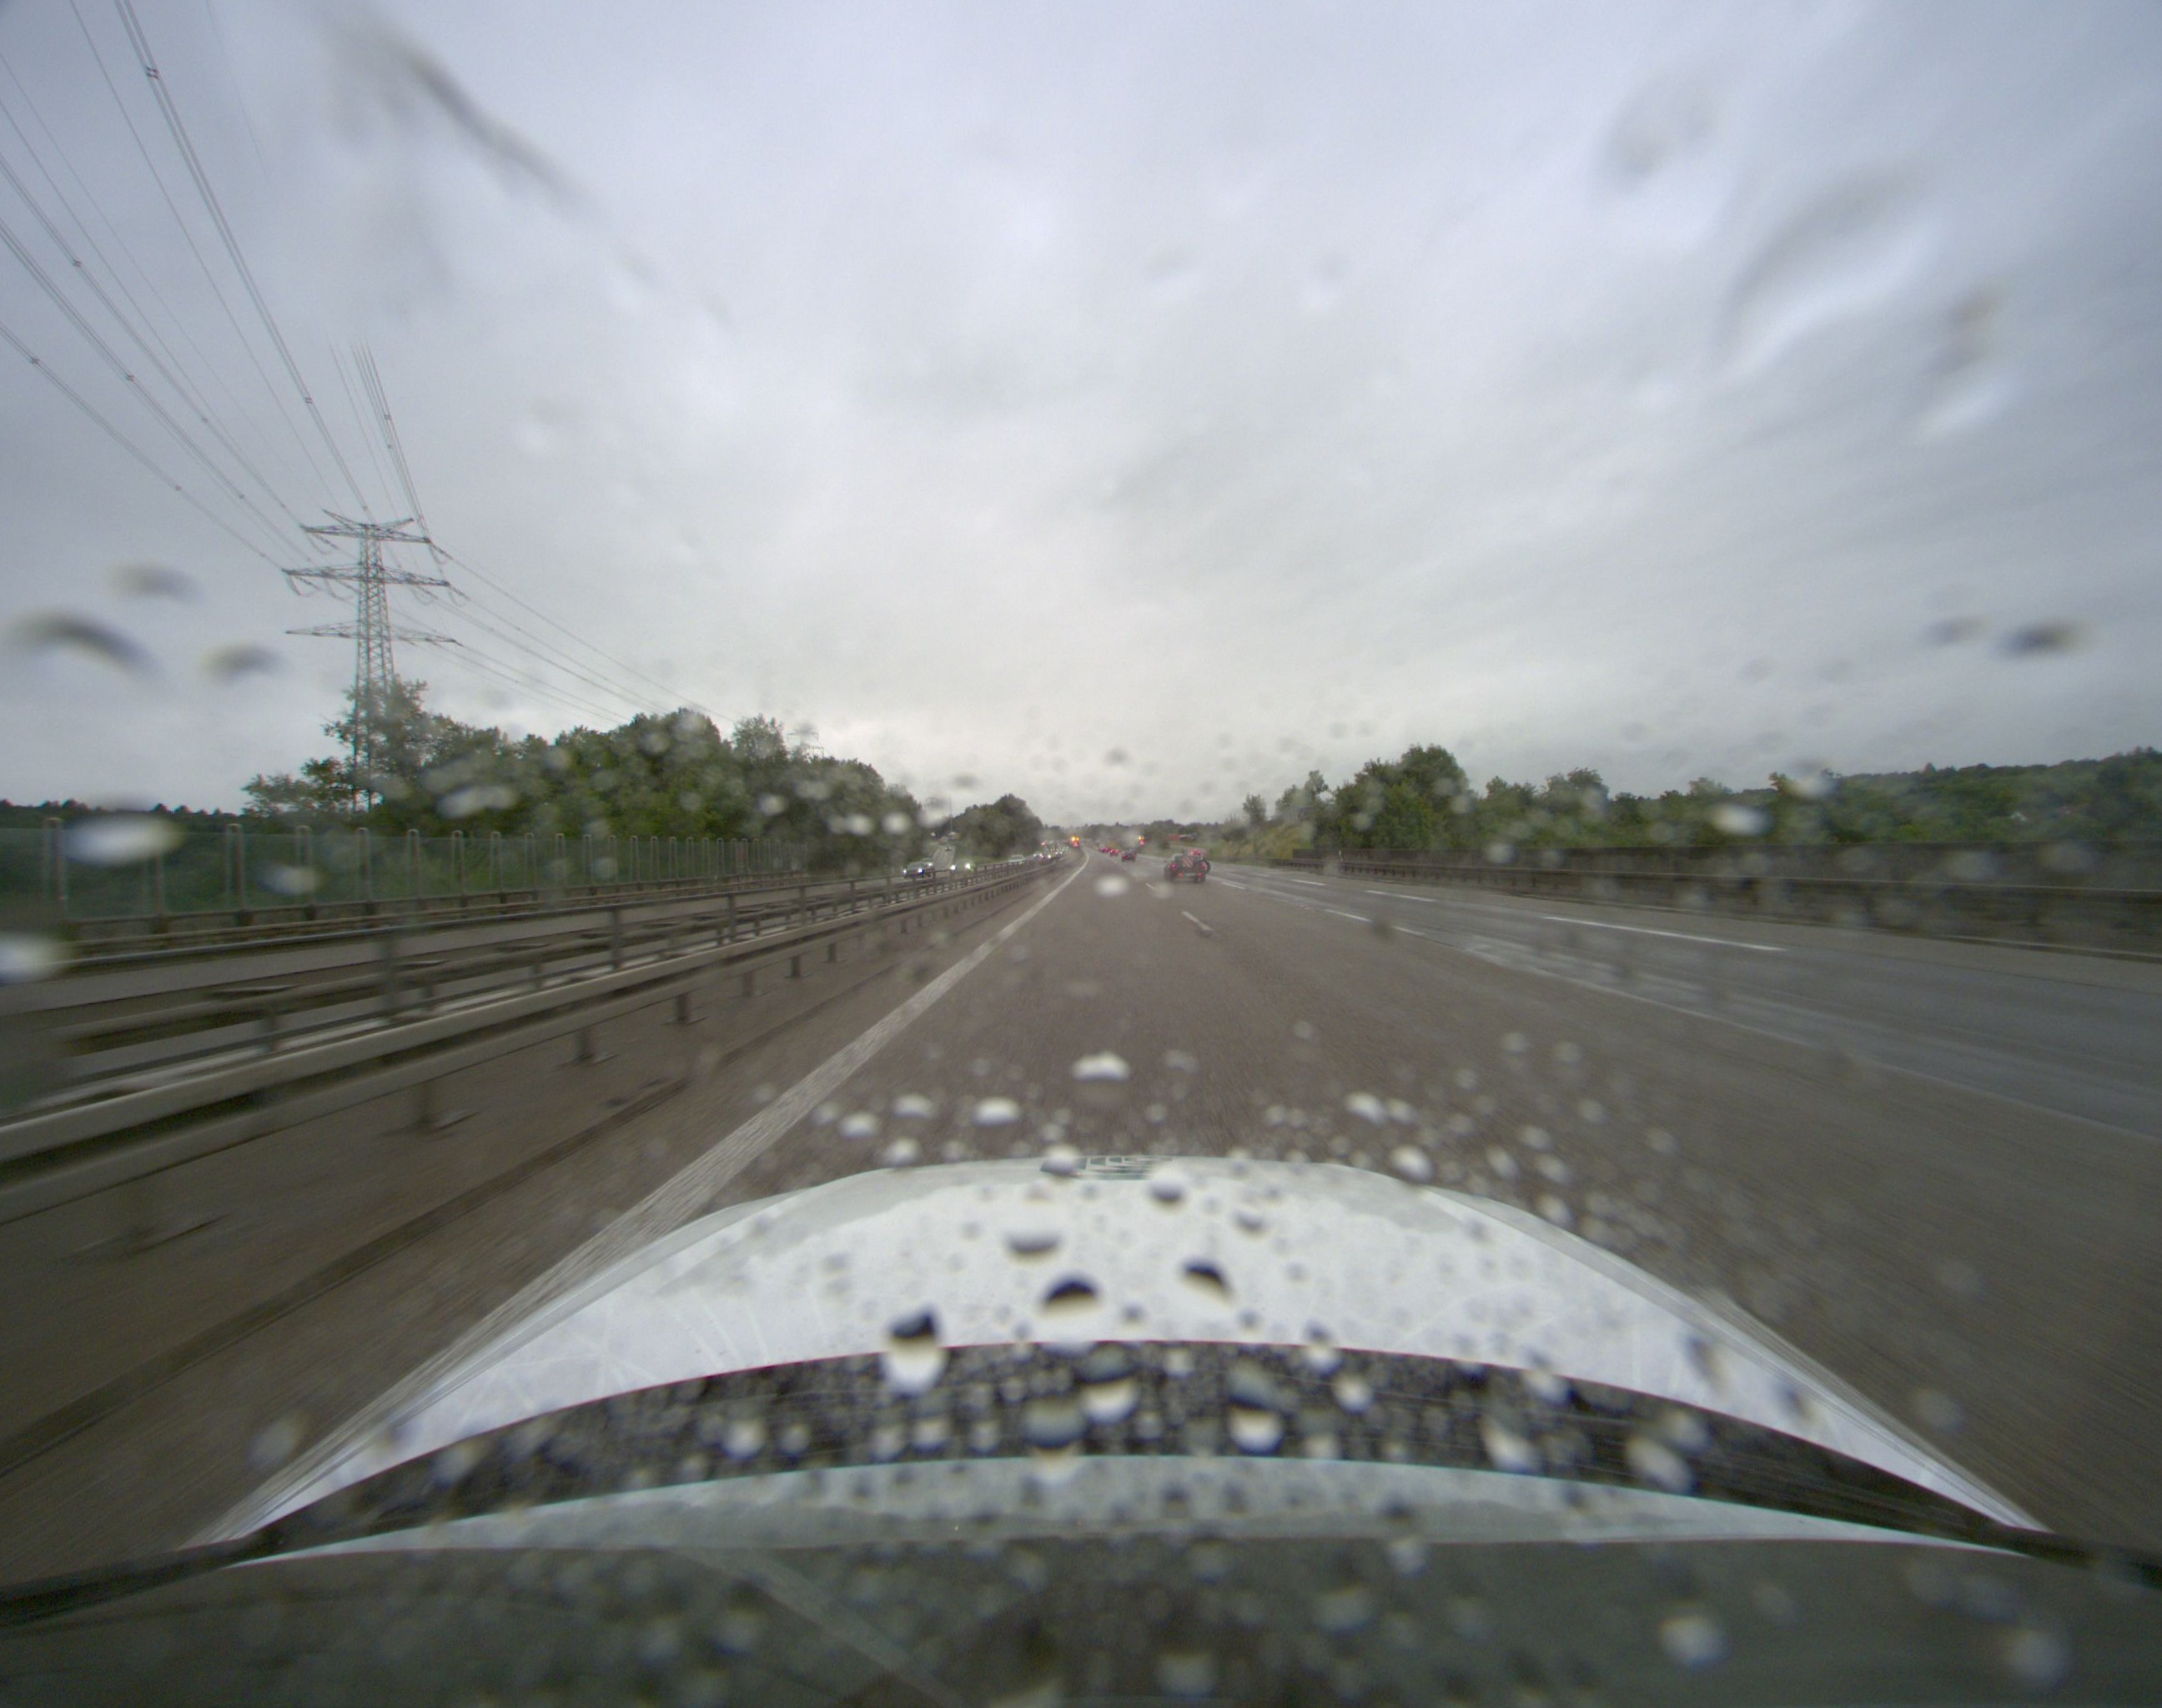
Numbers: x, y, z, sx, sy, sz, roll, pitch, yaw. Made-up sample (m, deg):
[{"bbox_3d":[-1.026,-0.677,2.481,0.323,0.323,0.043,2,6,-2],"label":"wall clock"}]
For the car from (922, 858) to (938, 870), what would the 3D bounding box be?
[{"bbox_3d":[-21.624,1.419,116.746,1.991,1.670,3.992,-2,0,-6],"label":"car"}]

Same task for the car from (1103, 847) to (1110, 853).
[{"bbox_3d":[7.542,-1.221,243.855,1.987,1.628,3.999,-3,1,0],"label":"car"}]

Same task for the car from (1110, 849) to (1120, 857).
[{"bbox_3d":[7.396,-0.309,178.744,1.987,1.628,3.999,-3,1,0],"label":"car"}]

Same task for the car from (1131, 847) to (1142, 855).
[{"bbox_3d":[11.749,-0.654,173.776,1.987,1.761,3.999,-3,1,0],"label":"car"}]

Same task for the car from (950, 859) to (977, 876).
[{"bbox_3d":[-11.046,1.236,76.825,1.809,1.437,4.090,-3,0,1],"label":"car"}]

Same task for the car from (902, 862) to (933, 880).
[{"bbox_3d":[-14.578,1.503,72.882,1.809,1.388,4.090,-3,0,1],"label":"car"}]

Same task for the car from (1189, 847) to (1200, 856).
[{"bbox_3d":[21.983,-0.536,157.562,1.912,1.709,4.007,-3,0,6],"label":"car"}]

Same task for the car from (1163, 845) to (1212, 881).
[{"bbox_3d":[5.381,0.437,41.722,2.049,1.671,5.526,-1,0,3],"label":"car"}]

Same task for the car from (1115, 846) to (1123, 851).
[{"bbox_3d":[11.906,-1.730,254.940,1.987,1.628,3.999,-3,1,0],"label":"car"}]

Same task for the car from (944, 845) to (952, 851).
[{"bbox_3d":[-38.110,-1.788,233.868,1.970,1.543,3.983,-3,0,-12],"label":"car"}]

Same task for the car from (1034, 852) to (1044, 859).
[{"bbox_3d":[-9.951,0.362,191.633,1.898,1.665,4.715,-3,0,1],"label":"car"}]

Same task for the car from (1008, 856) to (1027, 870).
[{"bbox_3d":[-7.081,0.991,91.505,1.650,1.437,4.090,-3,0,1],"label":"car"}]

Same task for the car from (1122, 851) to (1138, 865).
[{"bbox_3d":[6.679,0.566,111.362,1.987,1.761,3.999,-3,1,0],"label":"car"}]
